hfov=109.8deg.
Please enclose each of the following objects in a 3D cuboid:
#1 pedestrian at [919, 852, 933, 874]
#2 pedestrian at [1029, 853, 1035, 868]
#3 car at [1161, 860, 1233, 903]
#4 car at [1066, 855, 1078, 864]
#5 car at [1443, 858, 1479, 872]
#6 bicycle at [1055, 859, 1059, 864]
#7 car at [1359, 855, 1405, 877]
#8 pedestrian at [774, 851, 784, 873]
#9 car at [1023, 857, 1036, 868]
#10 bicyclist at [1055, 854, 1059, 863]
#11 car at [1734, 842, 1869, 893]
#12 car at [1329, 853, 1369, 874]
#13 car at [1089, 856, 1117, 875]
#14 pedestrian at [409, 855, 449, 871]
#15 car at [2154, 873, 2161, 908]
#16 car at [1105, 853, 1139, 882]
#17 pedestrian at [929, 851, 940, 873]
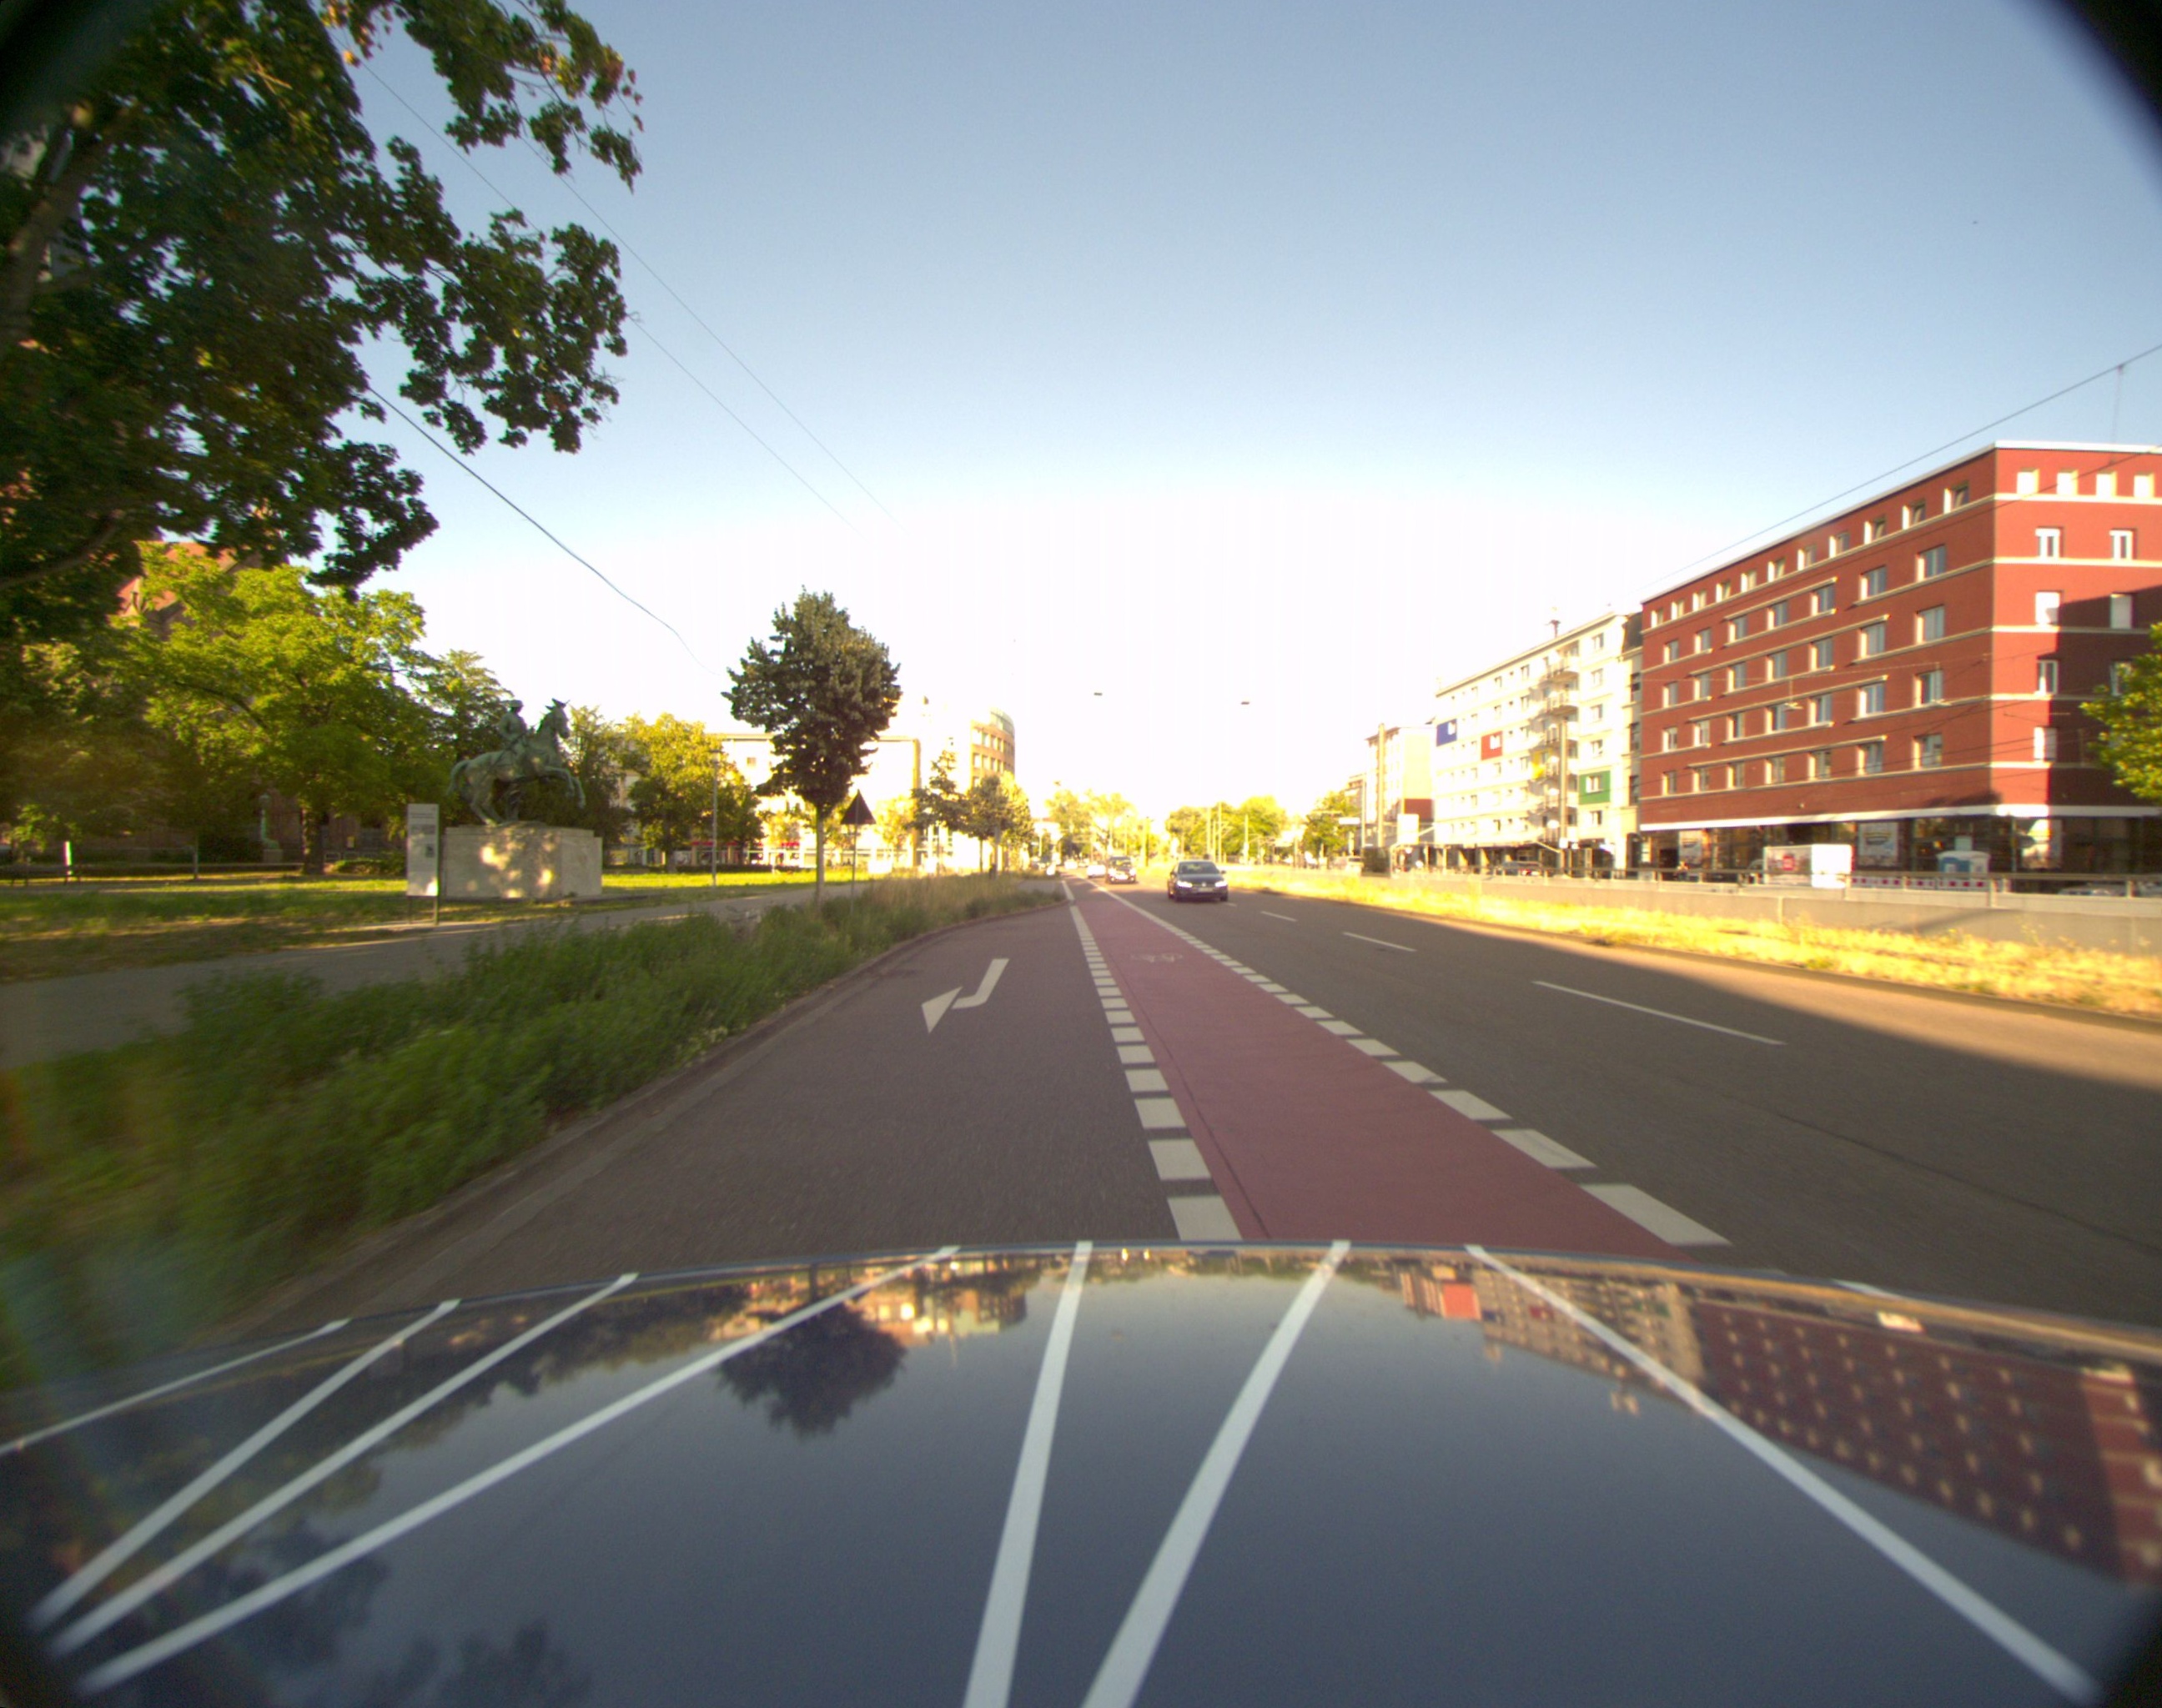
[{"bbox_3d":[-11.704,0.669,57.452,0.740,1.640,0.916,3,0,3],"label":"pedestrian"},{"bbox_3d":[-5.682,0.769,88.525,0.651,1.714,0.715,0,0,1],"label":"pedestrian"},{"bbox_3d":[4.050,0.929,27.189,1.770,1.418,4.244,-1,-1,-2],"label":"car"},{"bbox_3d":[-1.531,0.966,128.122,1.770,1.464,4.013,-1,0,-2],"label":"car"},{"bbox_3d":[52.300,1.561,104.568,3.997,1.770,1.742,-2,1,-1],"label":"car"},{"bbox_3d":[-3.940,1.217,125.360,0.608,0.923,1.777,0,0,2],"label":"bicycle"},{"bbox_3d":[25.500,1.021,64.513,1.998,1.786,4.895,0,0,0],"label":"car"},{"bbox_3d":[-24.165,0.663,60.822,0.644,1.729,0.595,0,0,-34],"label":"pedestrian"},{"bbox_3d":[-7.581,1.222,112.037,1.770,1.464,4.013,-1,0,-2],"label":"car"},{"bbox_3d":[-3.933,0.737,125.346,0.552,1.600,0.832,0,0,1],"label":"bicyclist"},{"bbox_3d":[32.360,0.577,34.339,1.957,2.121,4.574,1,0,4],"label":"car"},{"bbox_3d":[25.799,0.892,73.314,1.999,2.002,4.774,0,0,-2],"label":"car"},{"bbox_3d":[1.873,0.998,66.479,1.834,1.528,4.276,-2,0,-6],"label":"car"},{"bbox_3d":[-39.742,0.550,46.320,1.381,0.988,1.285,0,0,10],"label":"pedestrian"},{"bbox_3d":[48.267,1.598,32.091,3.583,1.486,1.642,1,0,0],"label":"car"},{"bbox_3d":[2.532,0.809,47.741,1.770,1.722,4.147,0,0,-2],"label":"car"},{"bbox_3d":[-11.322,0.636,58.601,0.599,1.679,0.782,2,0,3],"label":"pedestrian"}]
